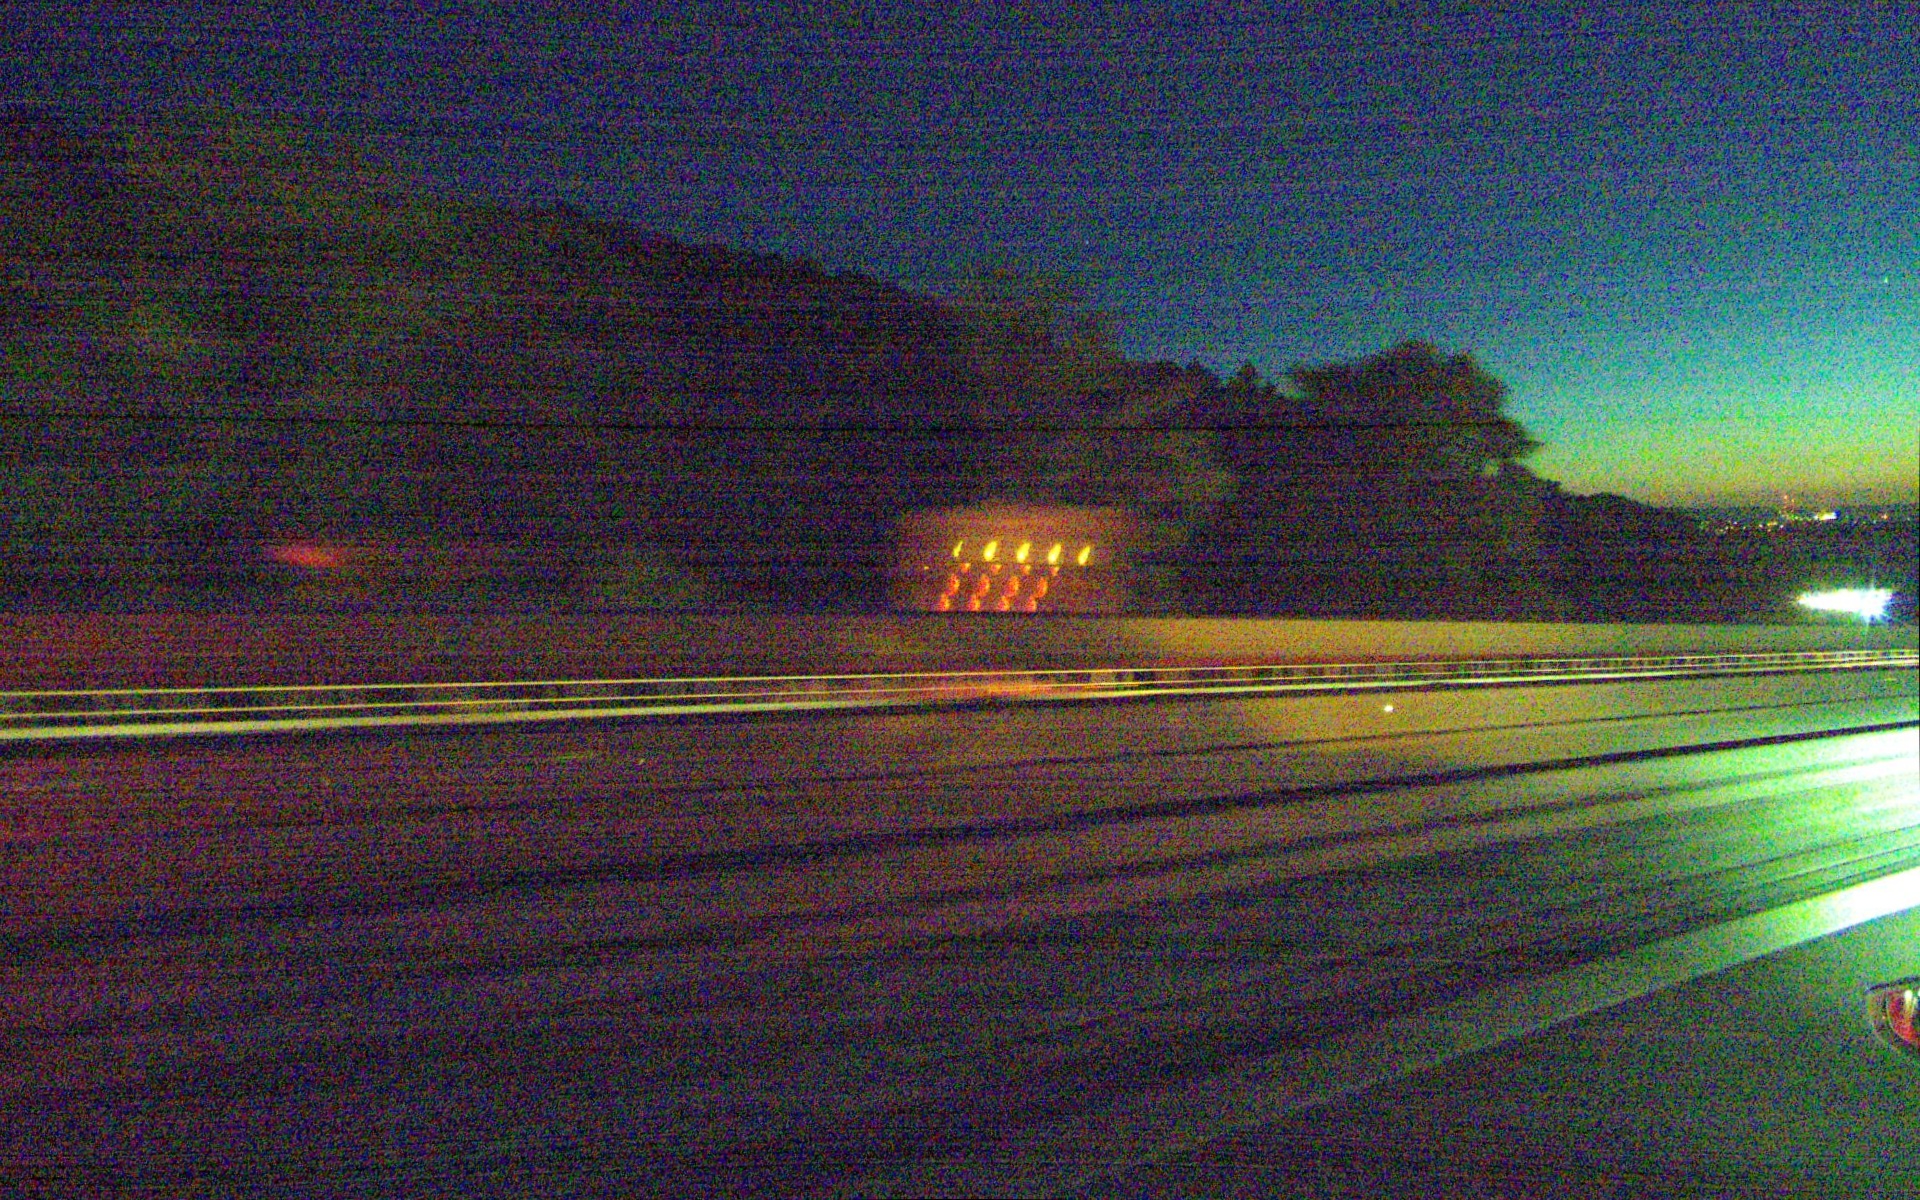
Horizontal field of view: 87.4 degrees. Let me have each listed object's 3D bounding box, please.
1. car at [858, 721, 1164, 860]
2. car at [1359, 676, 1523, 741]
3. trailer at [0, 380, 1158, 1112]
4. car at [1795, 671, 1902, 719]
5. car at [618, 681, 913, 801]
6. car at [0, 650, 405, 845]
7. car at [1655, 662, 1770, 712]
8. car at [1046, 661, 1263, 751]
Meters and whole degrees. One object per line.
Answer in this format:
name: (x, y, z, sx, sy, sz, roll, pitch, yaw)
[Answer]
car: (0.731, 2.557, 14.111, 3.949, 1.435, 1.794, 1, -3, -28)
car: (12.241, 2.705, 25.546, 3.947, 1.395, 1.701, 1, -2, -26)
trailer: (-3.241, 0.822, 7.561, 10.005, 3.763, 2.523, 2, 0, -29)
car: (33.114, 3.488, 37.404, 4.663, 1.472, 1.891, 1, -1, -34)
car: (-3.140, 2.184, 16.388, 4.350, 1.510, 1.985, 1, -1, -30)
car: (-9.330, 1.699, 12.581, 3.943, 2.040, 1.885, 1, -1, -23)
car: (24.522, 2.795, 32.706, 3.956, 1.416, 1.689, 1, -1, -32)
car: (4.022, 2.114, 20.782, 4.086, 1.569, 1.986, 1, -1, -27)
